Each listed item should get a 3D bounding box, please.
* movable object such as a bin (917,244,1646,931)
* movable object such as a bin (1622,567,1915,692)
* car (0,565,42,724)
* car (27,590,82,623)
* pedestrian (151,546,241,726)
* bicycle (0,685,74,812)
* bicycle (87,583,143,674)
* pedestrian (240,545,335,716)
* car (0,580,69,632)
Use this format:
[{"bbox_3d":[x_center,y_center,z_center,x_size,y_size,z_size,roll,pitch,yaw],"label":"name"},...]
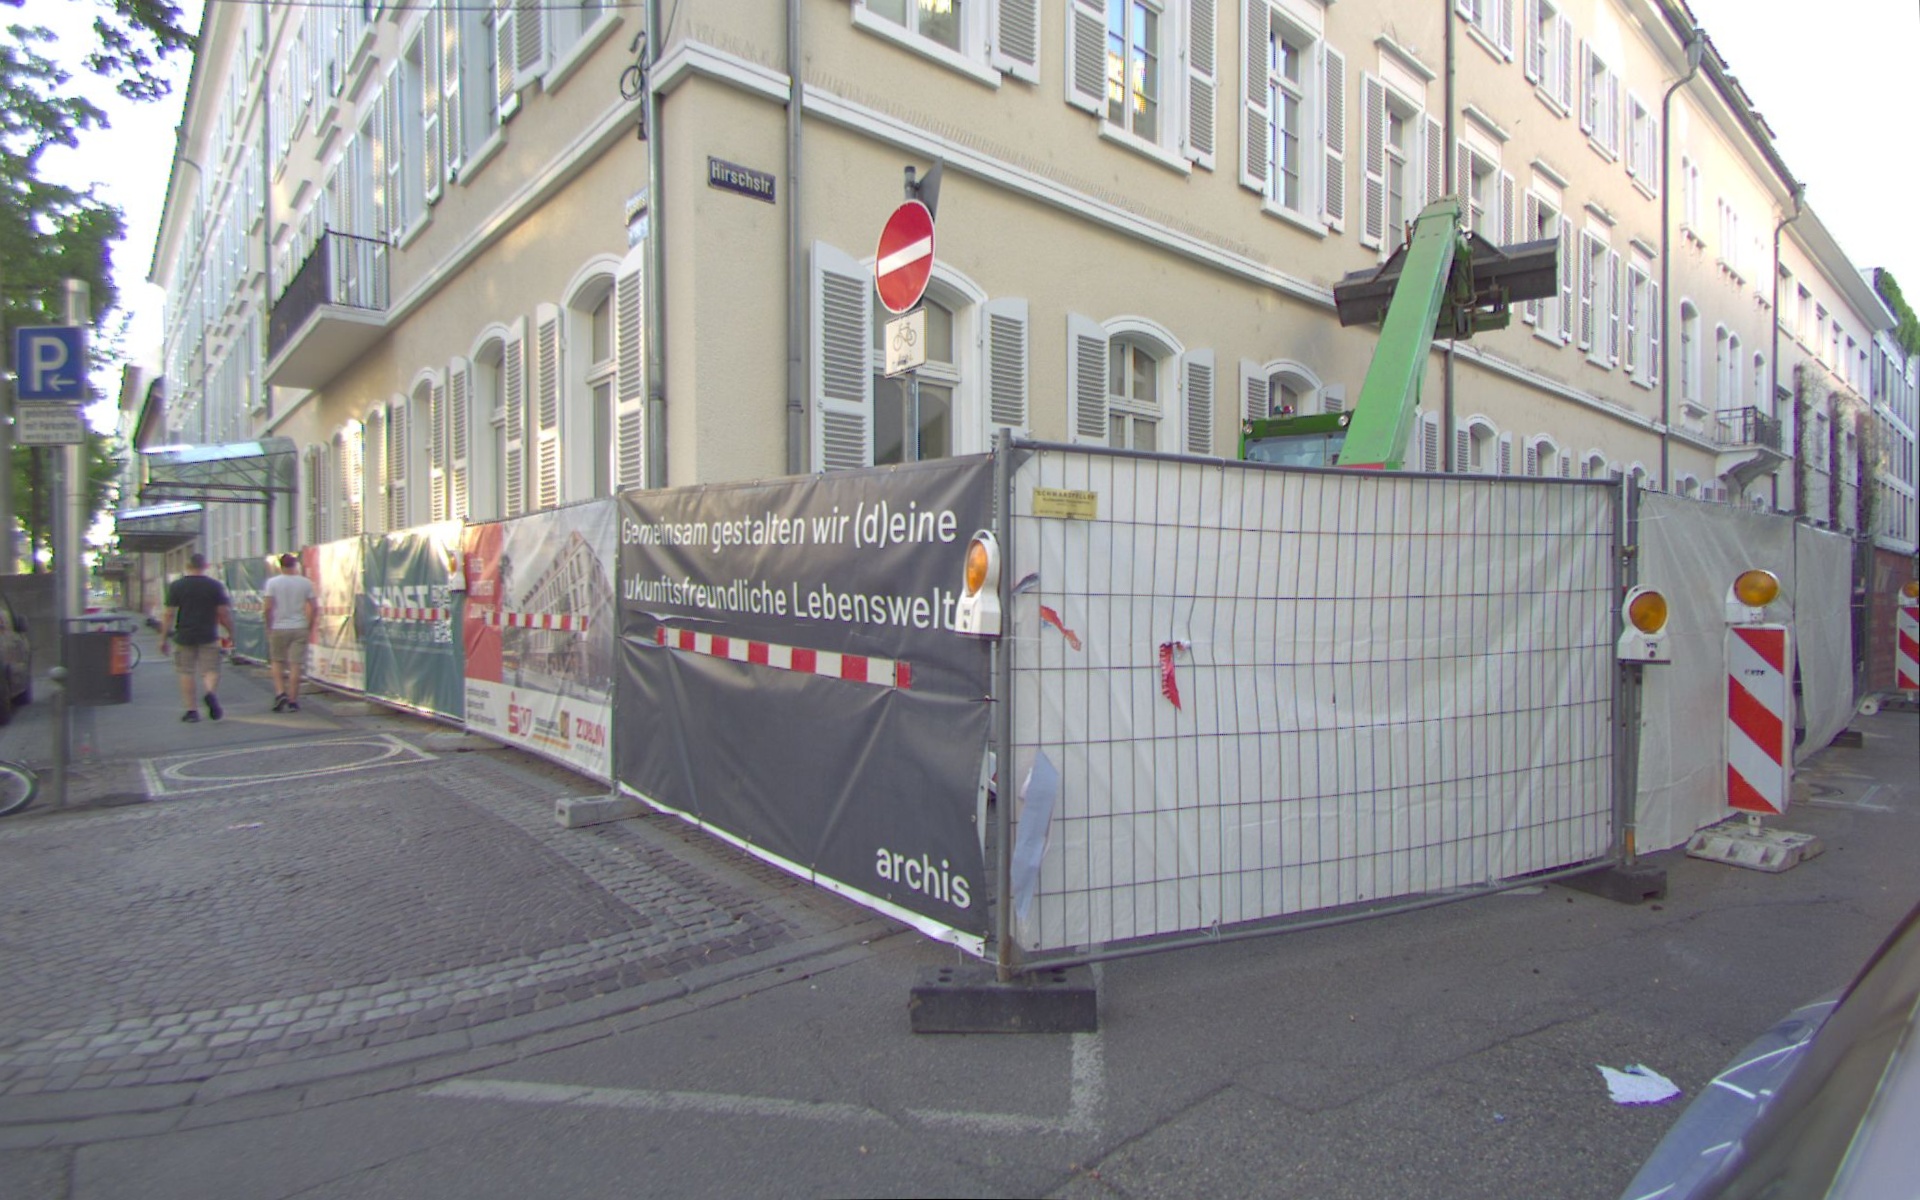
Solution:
[{"bbox_3d":[2.607,-0.102,7.155,5.473,2.908,2.638,-1,1,-44],"label":"movable object such as a bin"},{"bbox_3d":[13.932,0.354,17.182,7.171,1.685,2.894,0,1,-43],"label":"movable object such as a bin"},{"bbox_3d":[-12.618,0.531,12.316,1.742,1.786,3.875,-4,3,-38],"label":"car"},{"bbox_3d":[-45.221,0.301,50.599,1.966,1.522,4.098,-1,1,-41],"label":"car"},{"bbox_3d":[-8.497,0.367,11.250,0.668,1.907,0.768,-4,3,-40],"label":"pedestrian"},{"bbox_3d":[-7.230,1.053,6.604,1.326,0.715,2.046,0,2,42],"label":"bicycle"},{"bbox_3d":[-15.732,0.499,18.831,0.692,1.570,2.180,-3,2,-41],"label":"bicycle"},{"bbox_3d":[-7.930,0.323,11.930,0.746,1.907,0.879,-4,3,-40],"label":"pedestrian"},{"bbox_3d":[-33.584,0.192,36.635,1.966,1.759,4.098,-1,1,-41],"label":"car"}]
